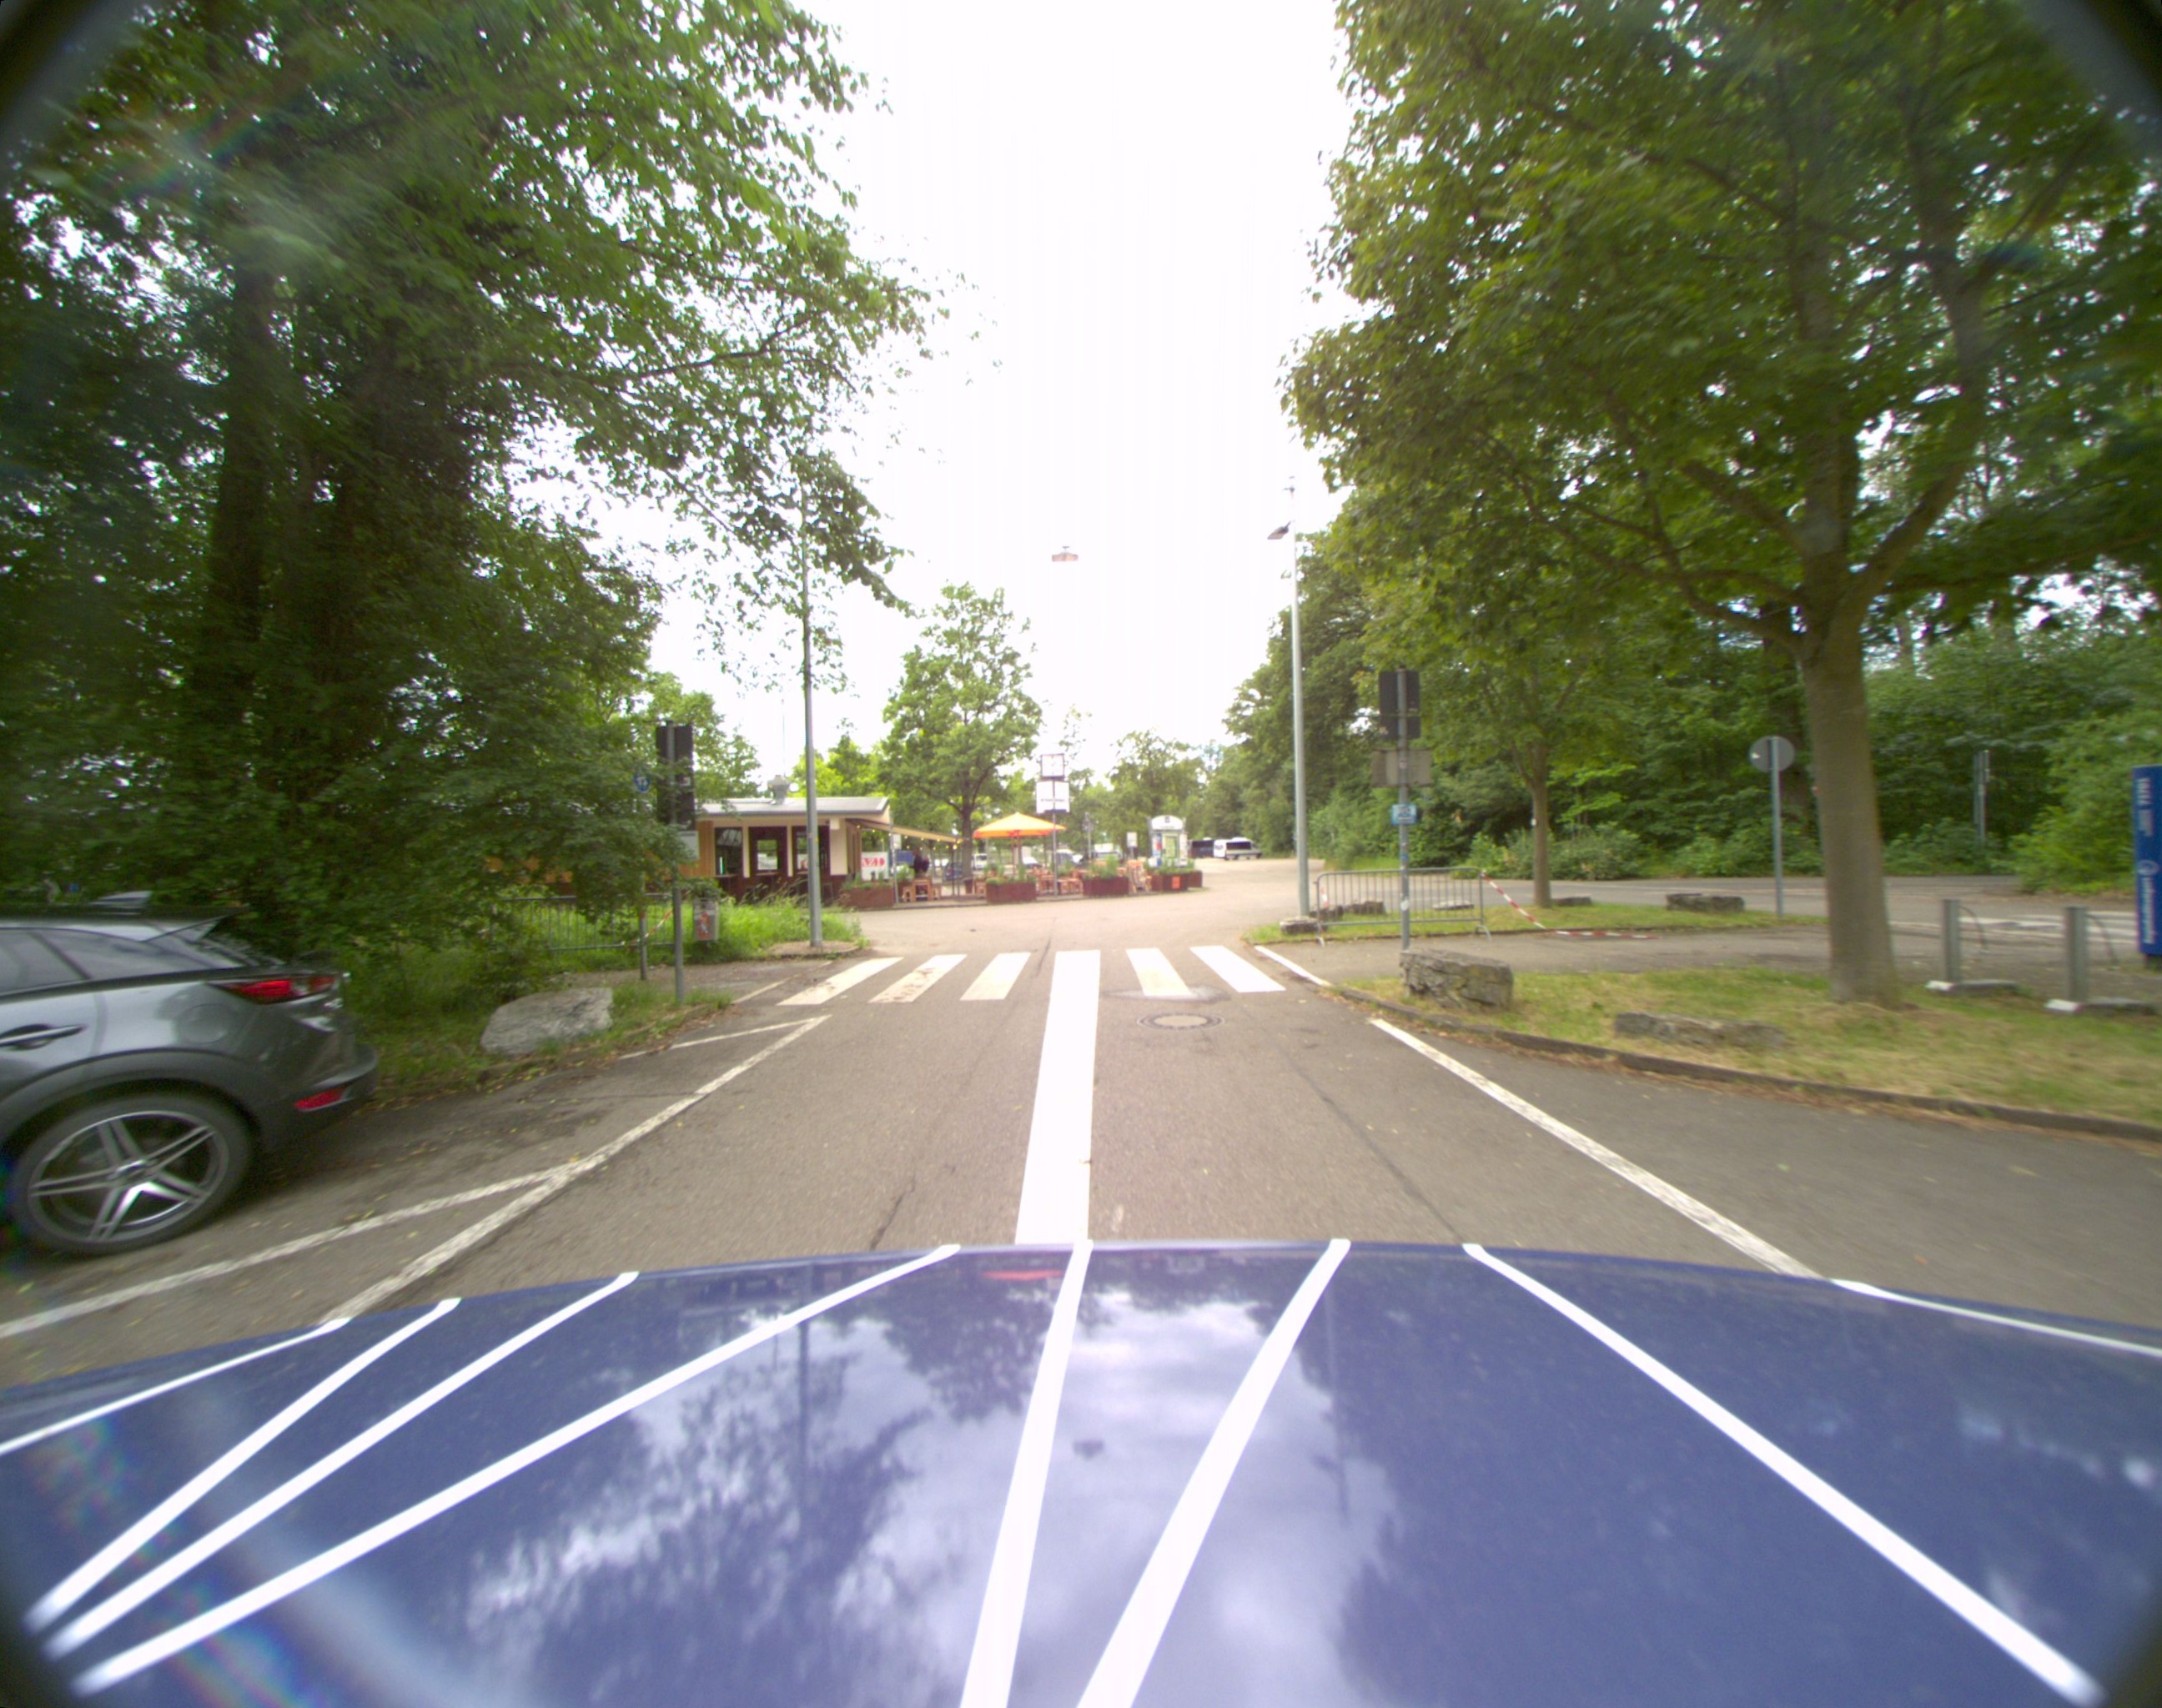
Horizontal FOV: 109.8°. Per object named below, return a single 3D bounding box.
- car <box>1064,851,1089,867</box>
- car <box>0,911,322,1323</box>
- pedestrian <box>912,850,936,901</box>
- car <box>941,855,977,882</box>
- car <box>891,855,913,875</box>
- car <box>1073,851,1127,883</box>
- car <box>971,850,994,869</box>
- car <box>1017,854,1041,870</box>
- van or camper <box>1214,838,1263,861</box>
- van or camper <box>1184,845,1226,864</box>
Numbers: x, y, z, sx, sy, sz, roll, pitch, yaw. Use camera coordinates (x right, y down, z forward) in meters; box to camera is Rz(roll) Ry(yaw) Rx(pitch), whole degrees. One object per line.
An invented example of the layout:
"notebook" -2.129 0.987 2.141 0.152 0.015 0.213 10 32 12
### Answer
"car" -0.577 0.589 88.428 1.878 1.769 4.290 -2 0 -15
"car" -5.567 1.140 2.828 3.799 1.483 1.695 -3 1 -44
"pedestrian" -5.734 0.781 27.795 0.750 1.820 0.710 -2 1 -7
"car" -7.756 0.900 48.231 2.000 1.543 3.996 -2 0 -12
"car" -18.479 1.131 78.258 2.001 2.002 3.995 -2 0 -15
"car" 0.997 0.705 42.610 1.937 1.660 4.340 -2 0 -14
"car" -11.192 0.622 85.935 1.878 2.027 4.584 -2 0 -15
"car" -6.020 0.890 87.119 1.878 1.769 4.290 -2 0 -15
"van or camper" 20.938 -0.598 100.551 7.353 2.833 2.063 -3 1 -38
"van or camper" 20.389 0.053 124.516 7.352 2.833 2.198 -3 1 -35
